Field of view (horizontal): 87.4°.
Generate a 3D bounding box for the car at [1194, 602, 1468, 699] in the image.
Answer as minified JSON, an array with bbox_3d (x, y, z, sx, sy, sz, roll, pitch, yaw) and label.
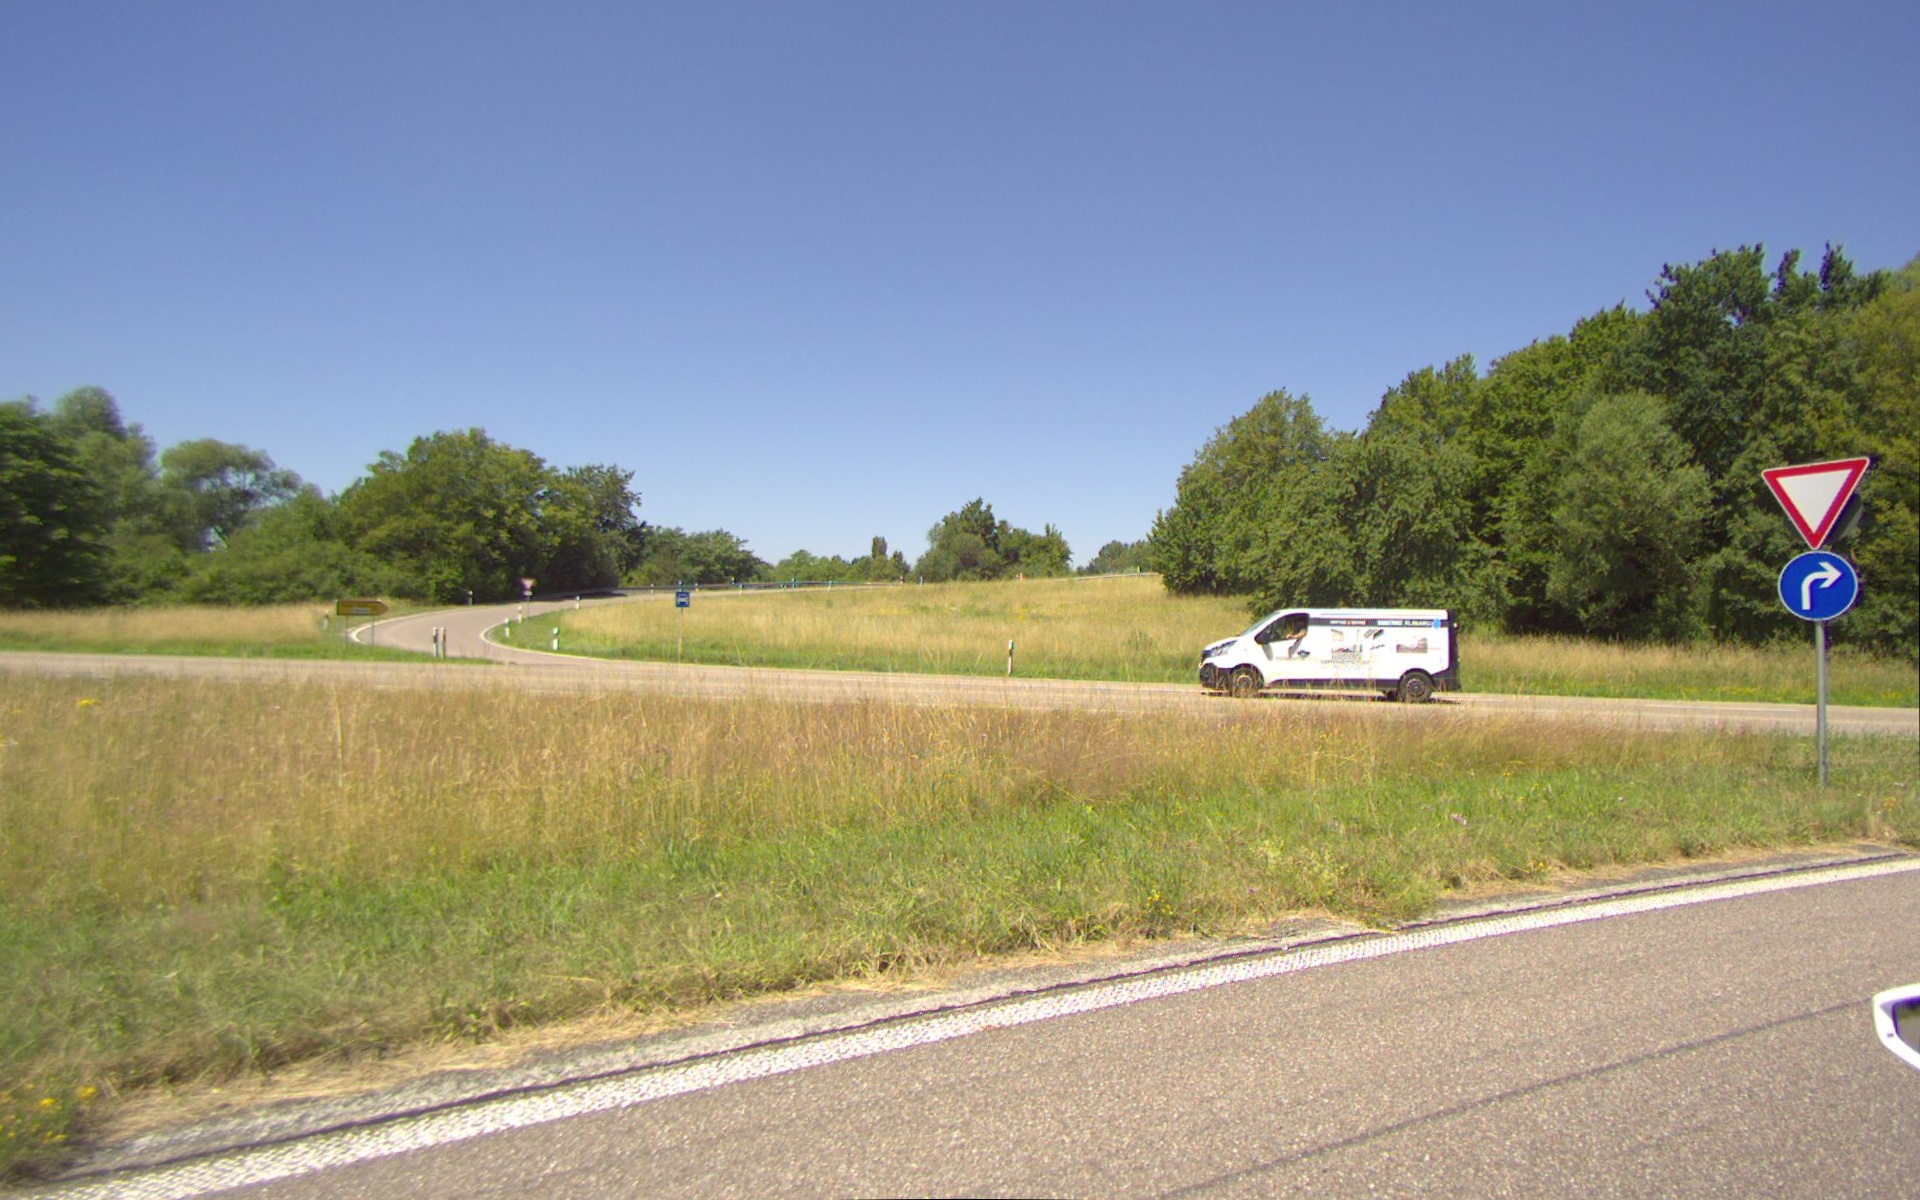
[{"bbox_3d":[7.905,1.107,21.914,5.284,1.986,1.916,-1,-2,9],"label":"car"}]
